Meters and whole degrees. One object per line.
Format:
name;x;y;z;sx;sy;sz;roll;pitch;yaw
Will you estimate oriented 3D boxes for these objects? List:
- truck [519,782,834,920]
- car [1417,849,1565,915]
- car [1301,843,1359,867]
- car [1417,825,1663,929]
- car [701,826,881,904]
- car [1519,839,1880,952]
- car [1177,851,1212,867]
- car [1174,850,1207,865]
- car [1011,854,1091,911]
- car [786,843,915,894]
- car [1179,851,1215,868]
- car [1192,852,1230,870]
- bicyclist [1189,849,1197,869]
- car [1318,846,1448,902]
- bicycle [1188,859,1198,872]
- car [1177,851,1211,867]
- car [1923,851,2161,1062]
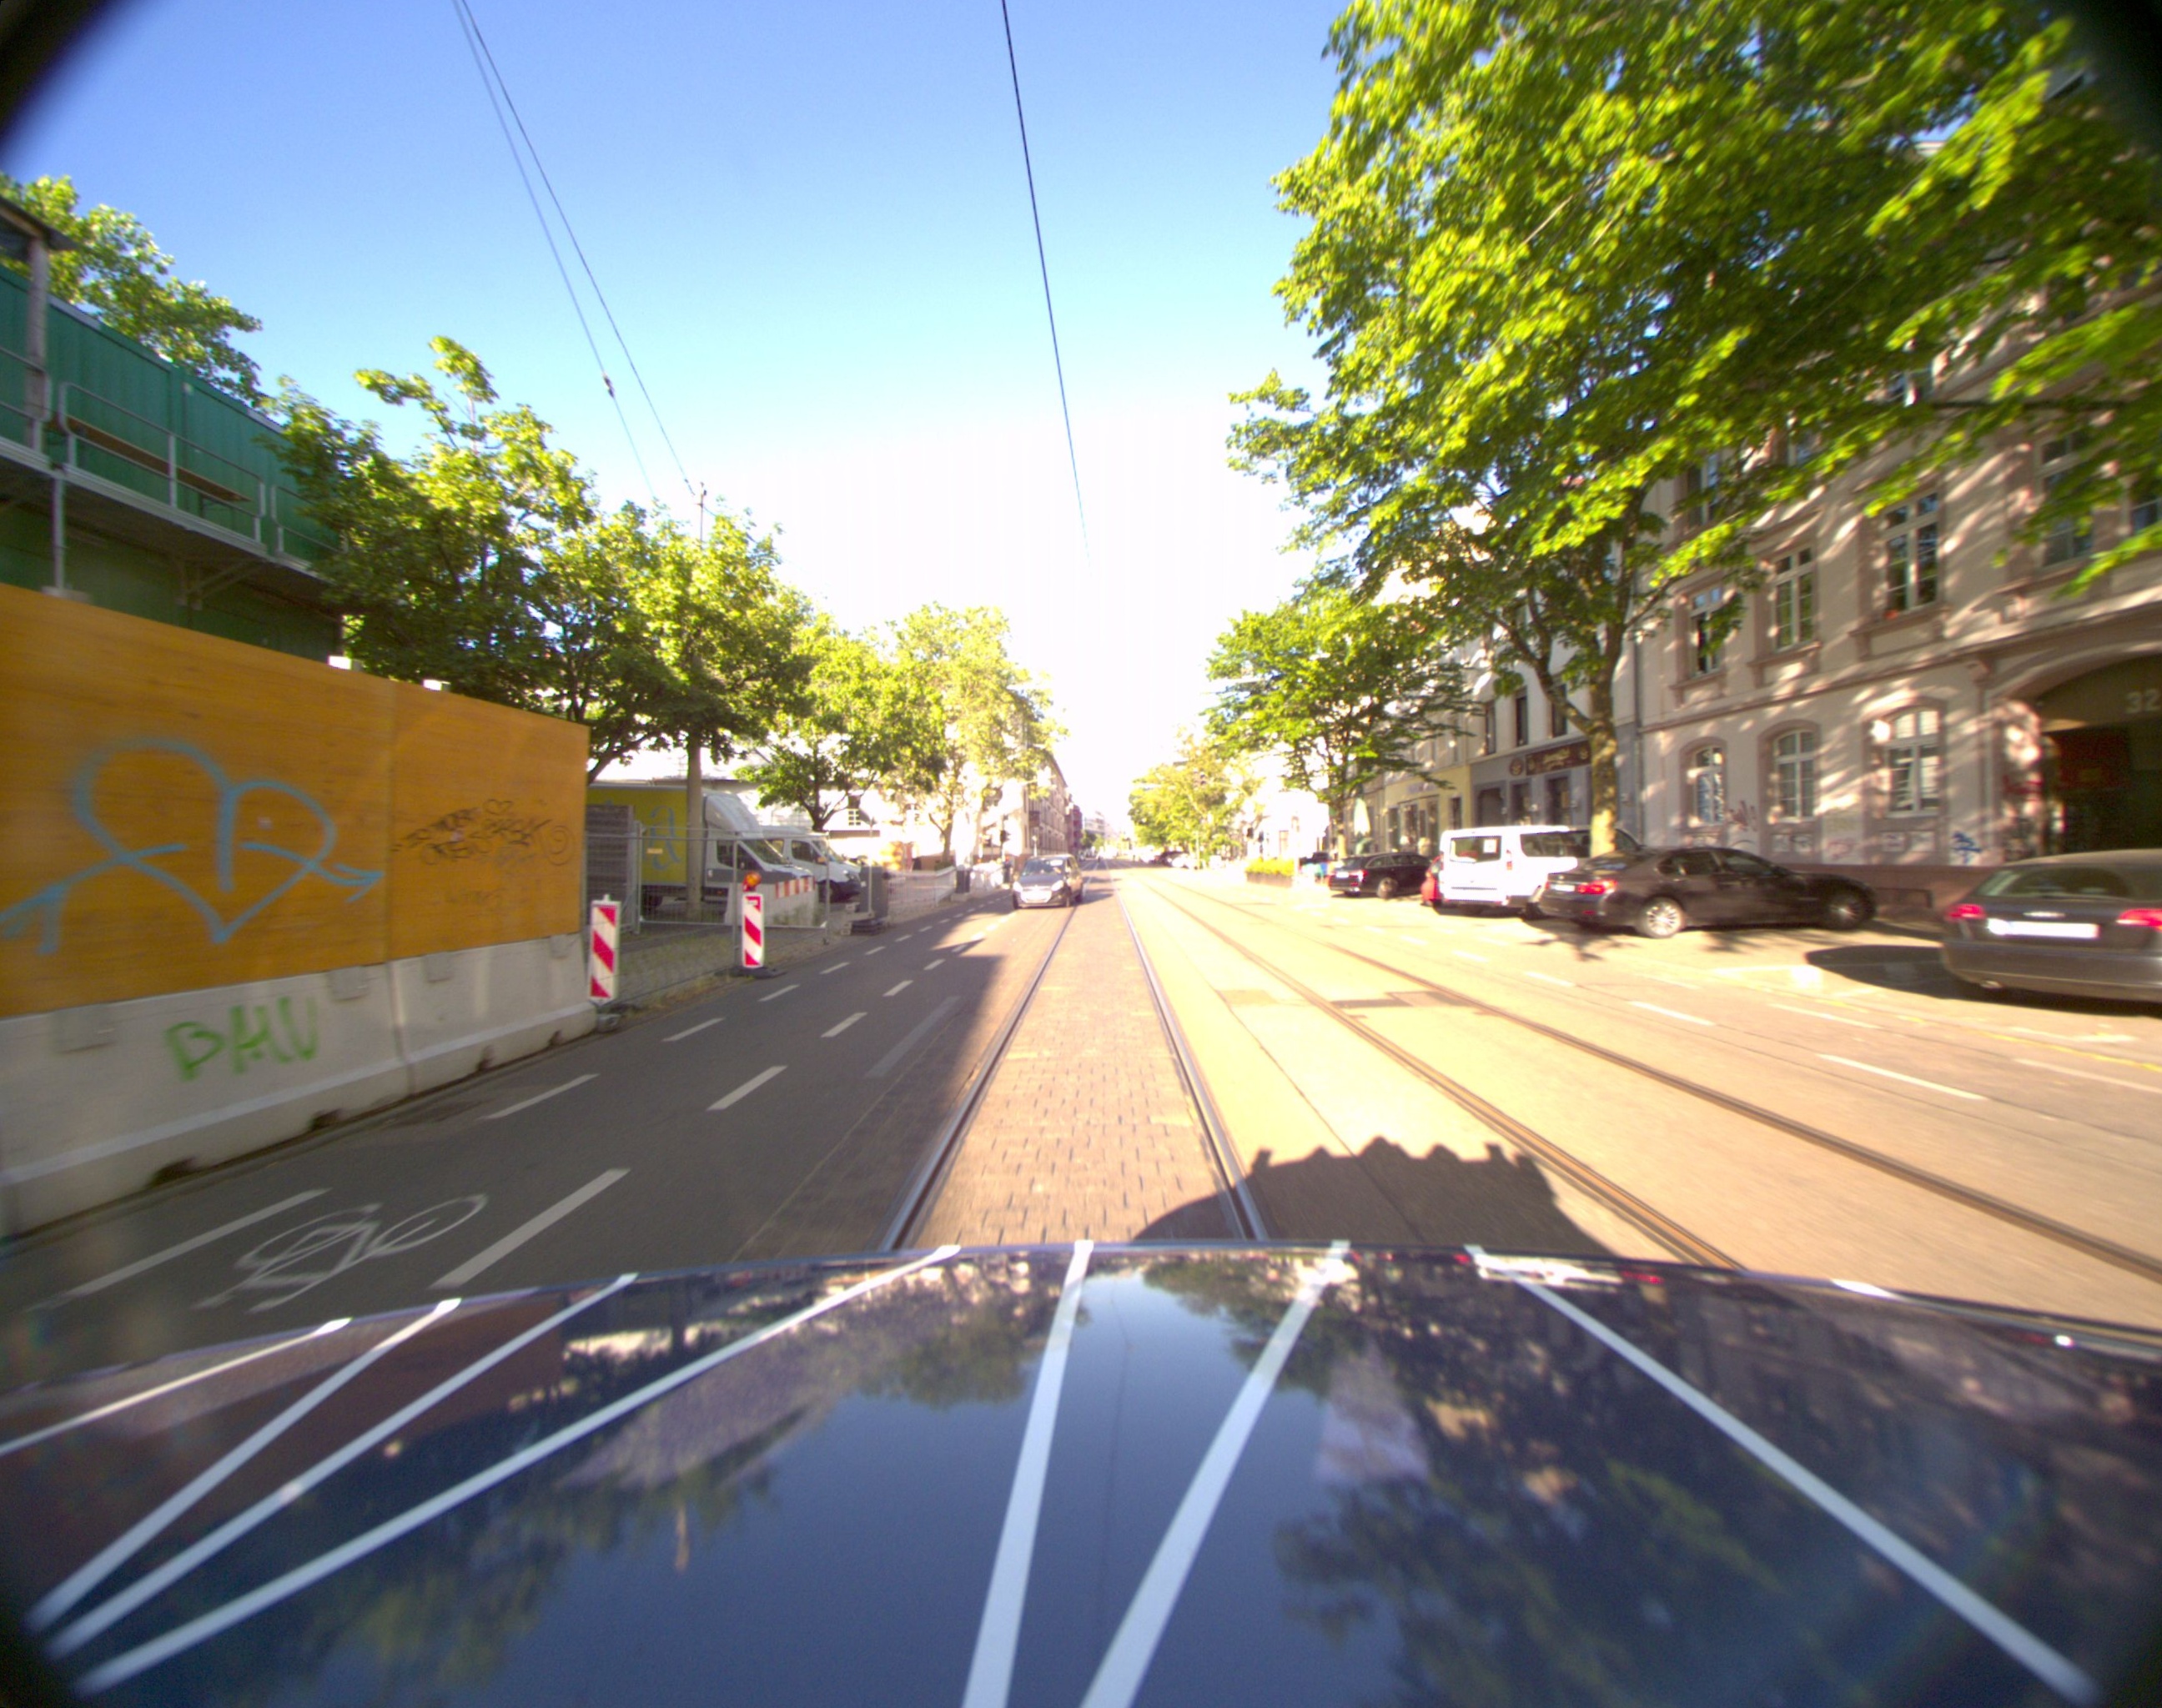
truck;-10.559;-0.087;20.307;7.092;3.399;2.371;-1;1;1
car;10.722;0.697;19.878;3.342;1.445;1.494;-3;0;-20
car;18.641;0.054;57.067;3.992;1.740;2.002;0;1;14
car;10.167;0.421;16.831;4.945;2.002;2.071;-1;1;-22
car;-9.834;0.350;26.071;5.335;2.548;2.013;-1;1;1
car;10.501;0.665;13.153;4.707;1.567;1.954;-3;0;-3
car;11.487;0.500;77.045;3.336;1.446;1.496;-2;2;4
car;12.021;0.428;83.512;3.336;1.446;1.496;-2;2;4
car;-0.856;0.829;24.265;1.748;1.612;4.172;-2;0;8
car;-9.750;0.609;32.317;4.793;1.998;2.001;-2;1;6
car;11.341;0.536;74.483;3.336;1.446;1.496;-3;2;3
car;11.811;0.659;69.237;3.335;1.446;1.497;-2;2;8
bicyclist;8.379;0.383;56.888;0.419;1.463;0.590;-1;1;-3
car;9.960;0.623;25.027;4.005;1.549;1.777;-3;1;-28
bicycle;8.394;0.849;56.860;0.451;0.931;1.757;-1;0;-2
car;11.771;0.509;79.490;3.336;1.446;1.496;-2;2;4
car;10.150;0.772;6.839;4.101;1.445;1.668;-3;1;-13
